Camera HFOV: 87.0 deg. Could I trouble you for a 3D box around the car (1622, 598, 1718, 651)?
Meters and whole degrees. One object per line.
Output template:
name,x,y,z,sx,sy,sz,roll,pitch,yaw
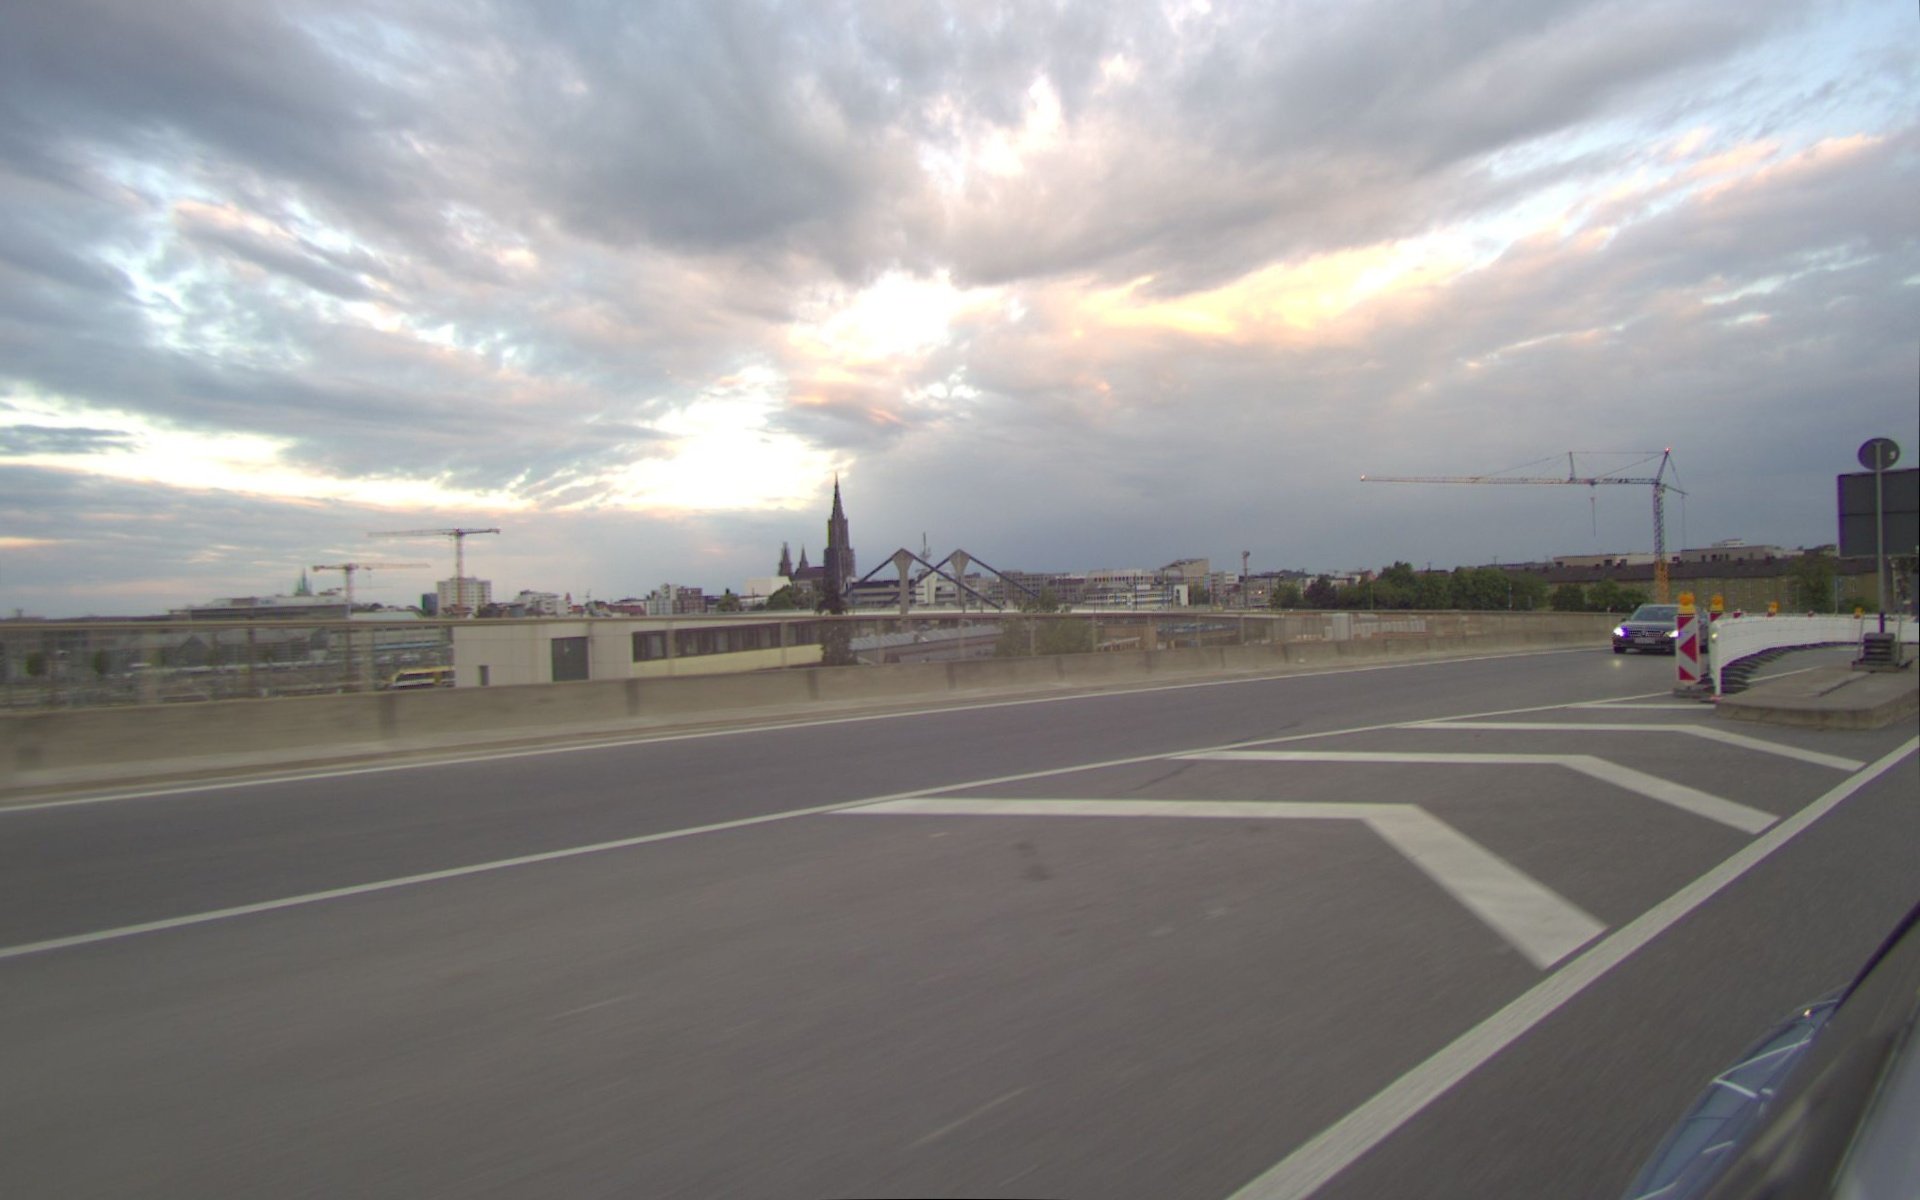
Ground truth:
car,21.414,0.695,30.478,1.750,1.510,3.936,0,0,44
